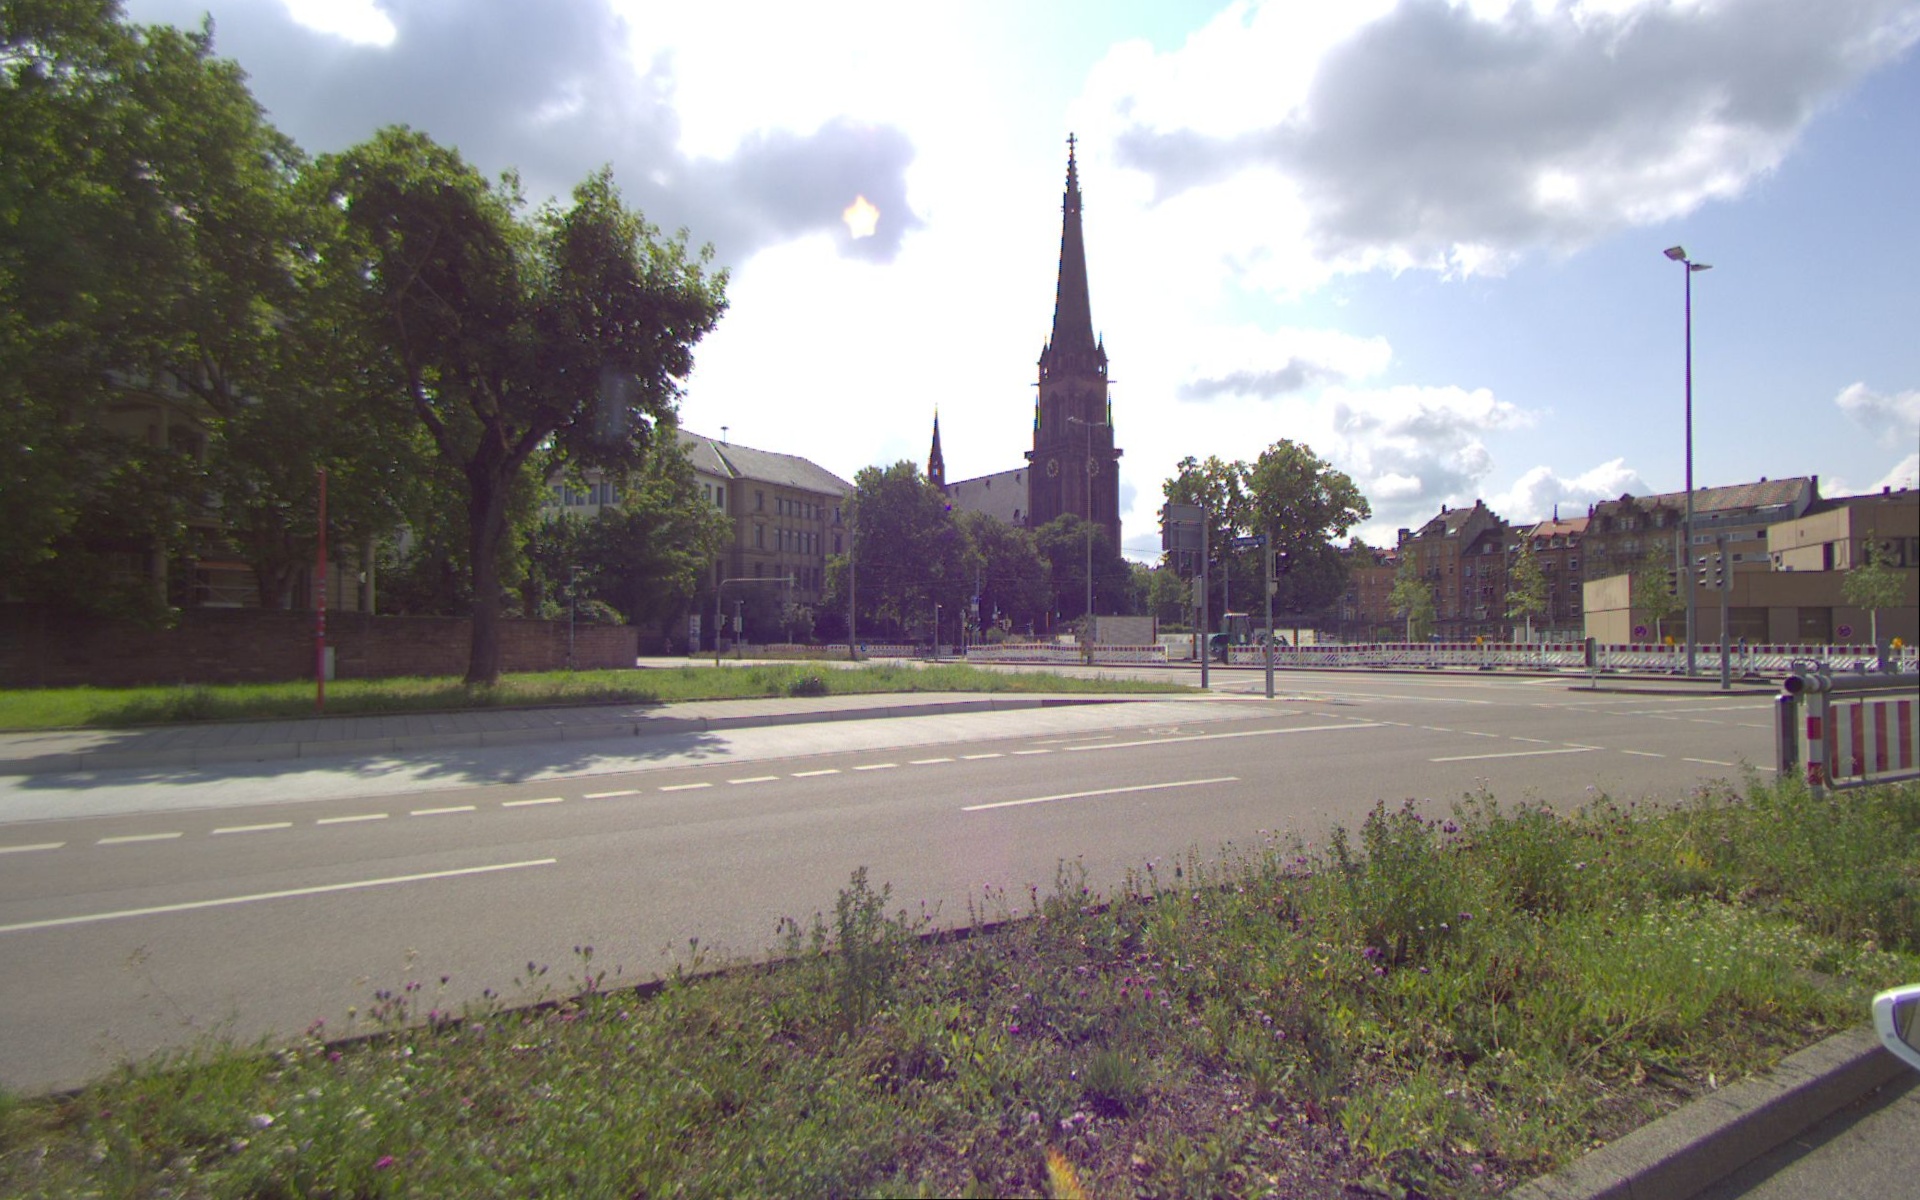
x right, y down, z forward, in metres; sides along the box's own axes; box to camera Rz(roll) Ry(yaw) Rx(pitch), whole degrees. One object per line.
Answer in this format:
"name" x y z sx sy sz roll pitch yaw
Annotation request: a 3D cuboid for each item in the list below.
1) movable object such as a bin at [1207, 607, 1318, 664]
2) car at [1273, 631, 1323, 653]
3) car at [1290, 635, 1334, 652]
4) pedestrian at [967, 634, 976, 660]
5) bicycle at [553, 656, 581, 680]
"movable object such as a bin" 15.871 1.876 53.011 5.430 2.922 2.290 0 -2 12
"car" 29.493 3.675 87.631 4.098 1.906 1.803 0 -2 20
"car" 38.391 4.770 109.668 4.293 1.817 1.781 -1 -2 29
"pedestrian" 0.822 3.373 71.980 0.492 1.874 0.526 1 -2 -25
"bicycle" -17.225 2.961 44.078 0.386 1.005 1.524 0 -2 10
